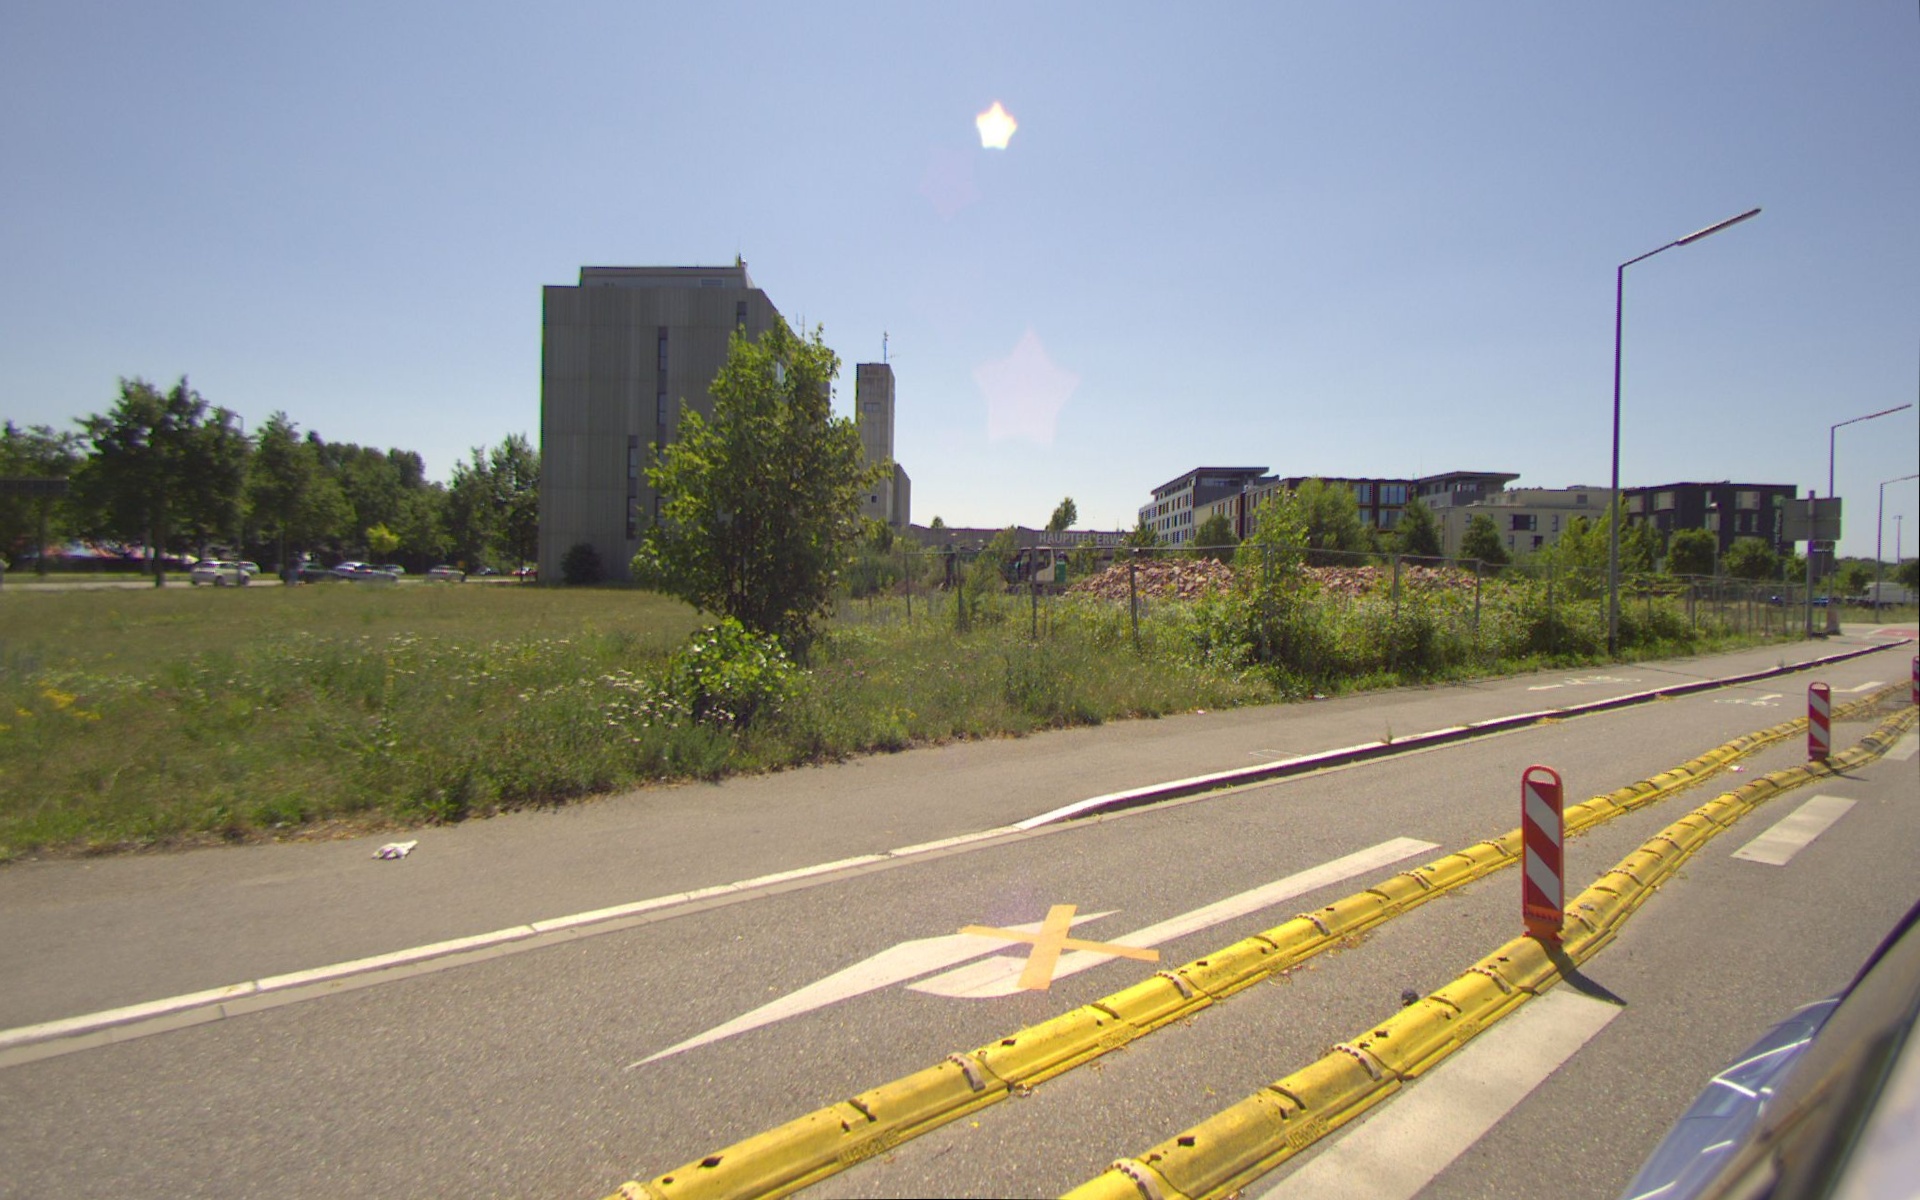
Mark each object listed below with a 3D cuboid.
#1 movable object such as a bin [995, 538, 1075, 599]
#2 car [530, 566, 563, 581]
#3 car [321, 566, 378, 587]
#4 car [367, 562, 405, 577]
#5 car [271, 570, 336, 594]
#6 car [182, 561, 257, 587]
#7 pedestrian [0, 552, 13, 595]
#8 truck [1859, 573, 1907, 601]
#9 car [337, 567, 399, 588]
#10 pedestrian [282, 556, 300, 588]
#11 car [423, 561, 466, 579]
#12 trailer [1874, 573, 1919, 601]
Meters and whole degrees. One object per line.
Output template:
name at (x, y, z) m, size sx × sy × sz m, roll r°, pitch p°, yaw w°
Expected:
movable object such as a bin at (3.945, -1.631, 53.151) m, size 3.619 × 3.101 × 2.207 m, roll 0°, pitch 1°, yaw -36°
car at (-43.086, -2.753, 105.552) m, size 1.708 × 1.571 × 3.999 m, roll 0°, pitch 1°, yaw 1°
car at (-49.086, -1.868, 81.523) m, size 1.708 × 1.571 × 4.641 m, roll 0°, pitch 1°, yaw 1°
car at (-62.102, -3.277, 109.543) m, size 1.708 × 1.571 × 3.999 m, roll 0°, pitch 1°, yaw 1°
car at (-46.402, -1.229, 71.588) m, size 1.707 × 1.572 × 4.407 m, roll 0°, pitch -1°, yaw 0°
car at (-46.336, -1.622, 63.426) m, size 1.708 × 1.571 × 3.999 m, roll 0°, pitch 1°, yaw 1°
pedestrian at (-35.133, -0.963, 36.905) m, size 0.489 × 1.583 × 0.737 m, roll 0°, pitch 0°, yaw -1°
truck at (114.845, -1.658, 125.953) m, size 3.928 × 3.377 × 1.998 m, roll 1°, pitch 1°, yaw 4°
car at (-43.442, -1.620, 74.361) m, size 1.965 × 1.523 × 4.069 m, roll 0°, pitch 1°, yaw 6°
pedestrian at (-35.282, -1.471, 53.369) m, size 0.489 × 1.712 × 0.737 m, roll 0°, pitch 0°, yaw -1°
car at (-45.867, -2.675, 90.130) m, size 1.708 × 1.571 × 3.999 m, roll 0°, pitch 1°, yaw 1°
trailer at (118.640, -1.541, 125.658) m, size 8.030 × 3.390 × 1.998 m, roll 1°, pitch 1°, yaw 4°
